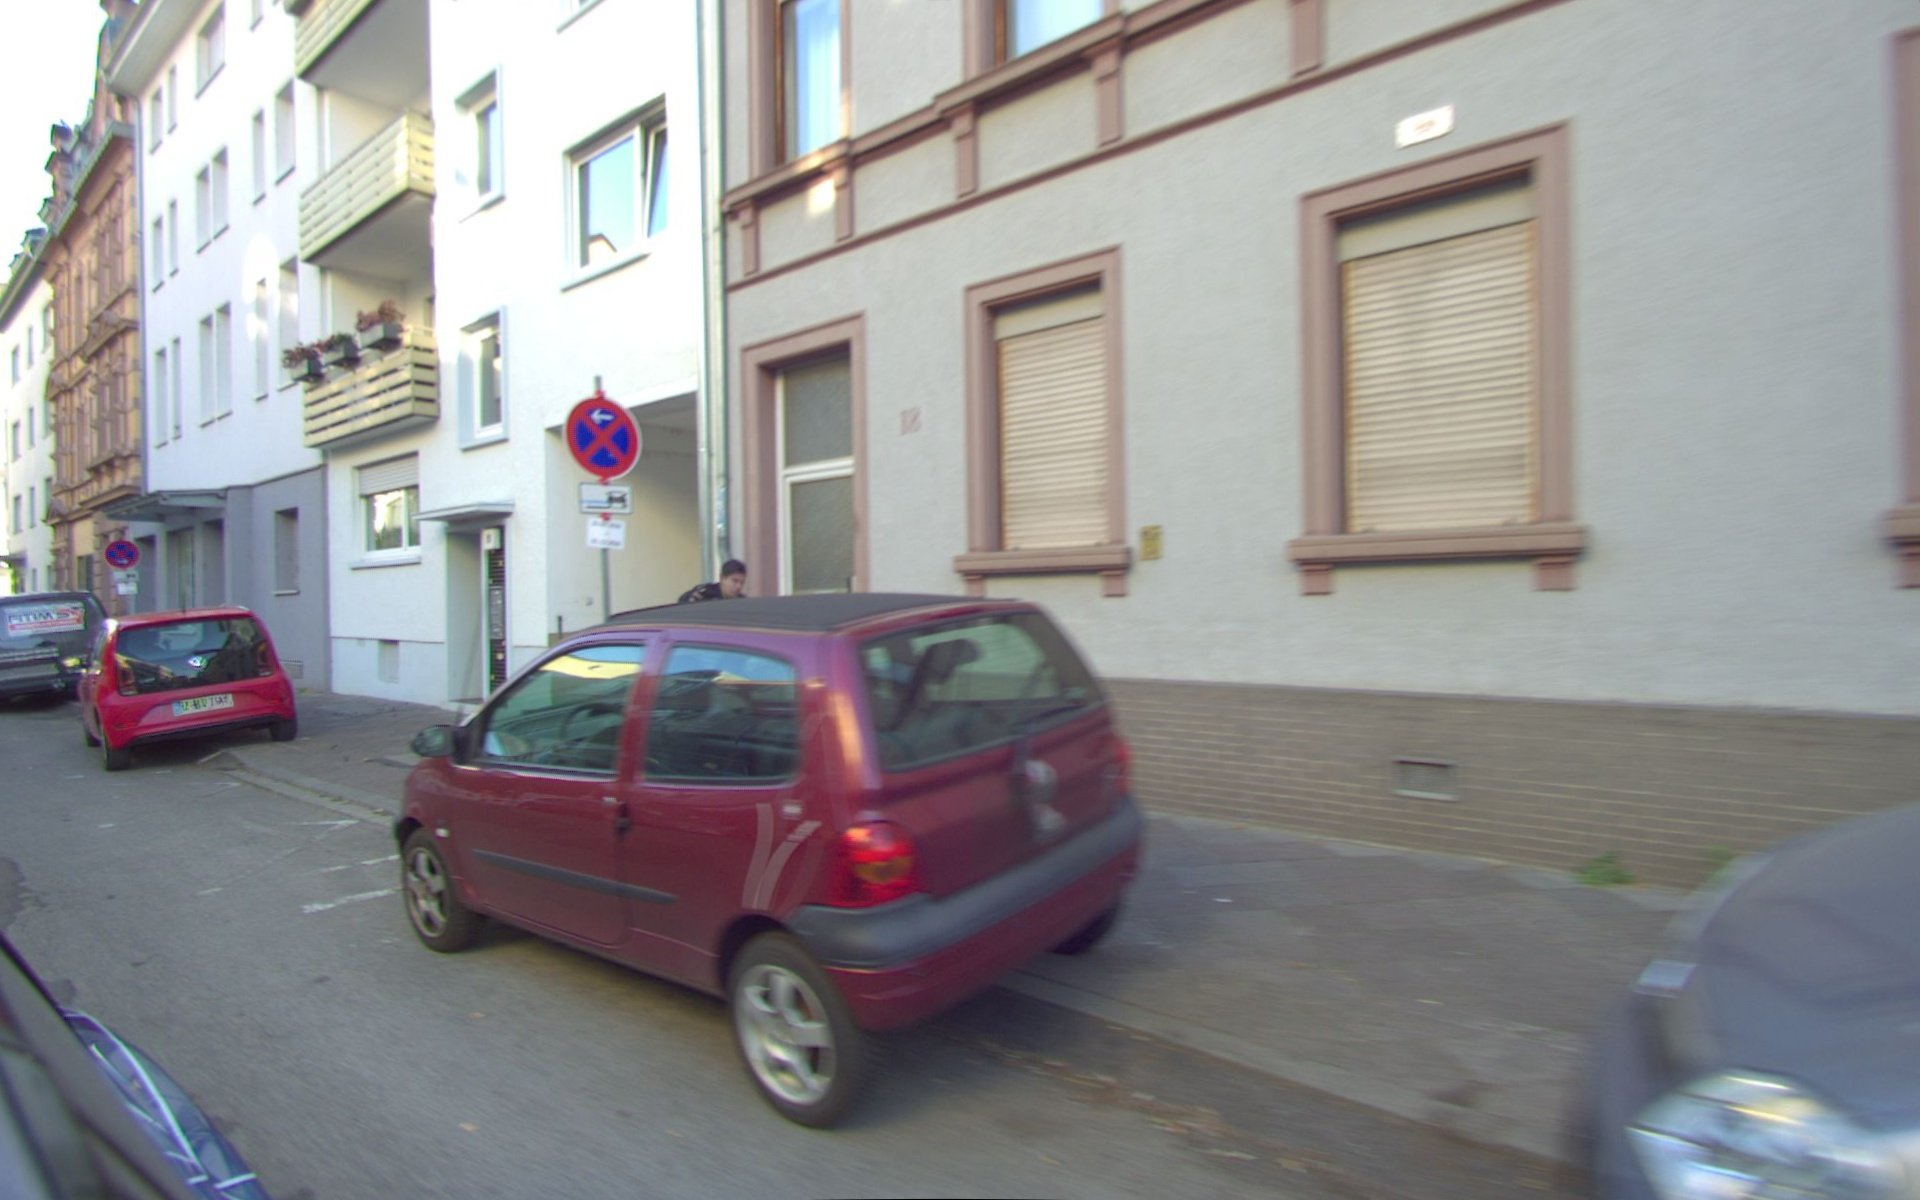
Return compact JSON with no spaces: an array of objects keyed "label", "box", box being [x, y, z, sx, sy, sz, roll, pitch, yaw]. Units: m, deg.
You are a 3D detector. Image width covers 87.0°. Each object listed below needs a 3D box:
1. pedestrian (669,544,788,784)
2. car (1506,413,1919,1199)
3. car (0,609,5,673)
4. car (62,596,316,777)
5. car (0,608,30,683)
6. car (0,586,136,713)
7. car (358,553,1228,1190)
[{"label":"pedestrian","box":[-1.676,0.433,7.330,0.665,1.650,0.490,-1,1,40]},{"label":"car","box":[2.806,0.555,0.733,3.975,1.656,1.695,-1,2,39]},{"label":"car","box":[-25.414,1.052,25.713,2.791,1.600,1.382,-1,-1,40]},{"label":"car","box":[-8.503,0.803,11.055,1.650,1.496,3.608,-8,5,-44]},{"label":"car","box":[-22.658,1.033,22.994,4.011,1.611,1.723,-1,0,40]},{"label":"car","box":[-15.737,0.769,17.061,4.580,1.872,1.974,-1,0,39]},{"label":"car","box":[-0.835,0.642,4.070,3.283,1.458,1.641,-1,3,39]}]
